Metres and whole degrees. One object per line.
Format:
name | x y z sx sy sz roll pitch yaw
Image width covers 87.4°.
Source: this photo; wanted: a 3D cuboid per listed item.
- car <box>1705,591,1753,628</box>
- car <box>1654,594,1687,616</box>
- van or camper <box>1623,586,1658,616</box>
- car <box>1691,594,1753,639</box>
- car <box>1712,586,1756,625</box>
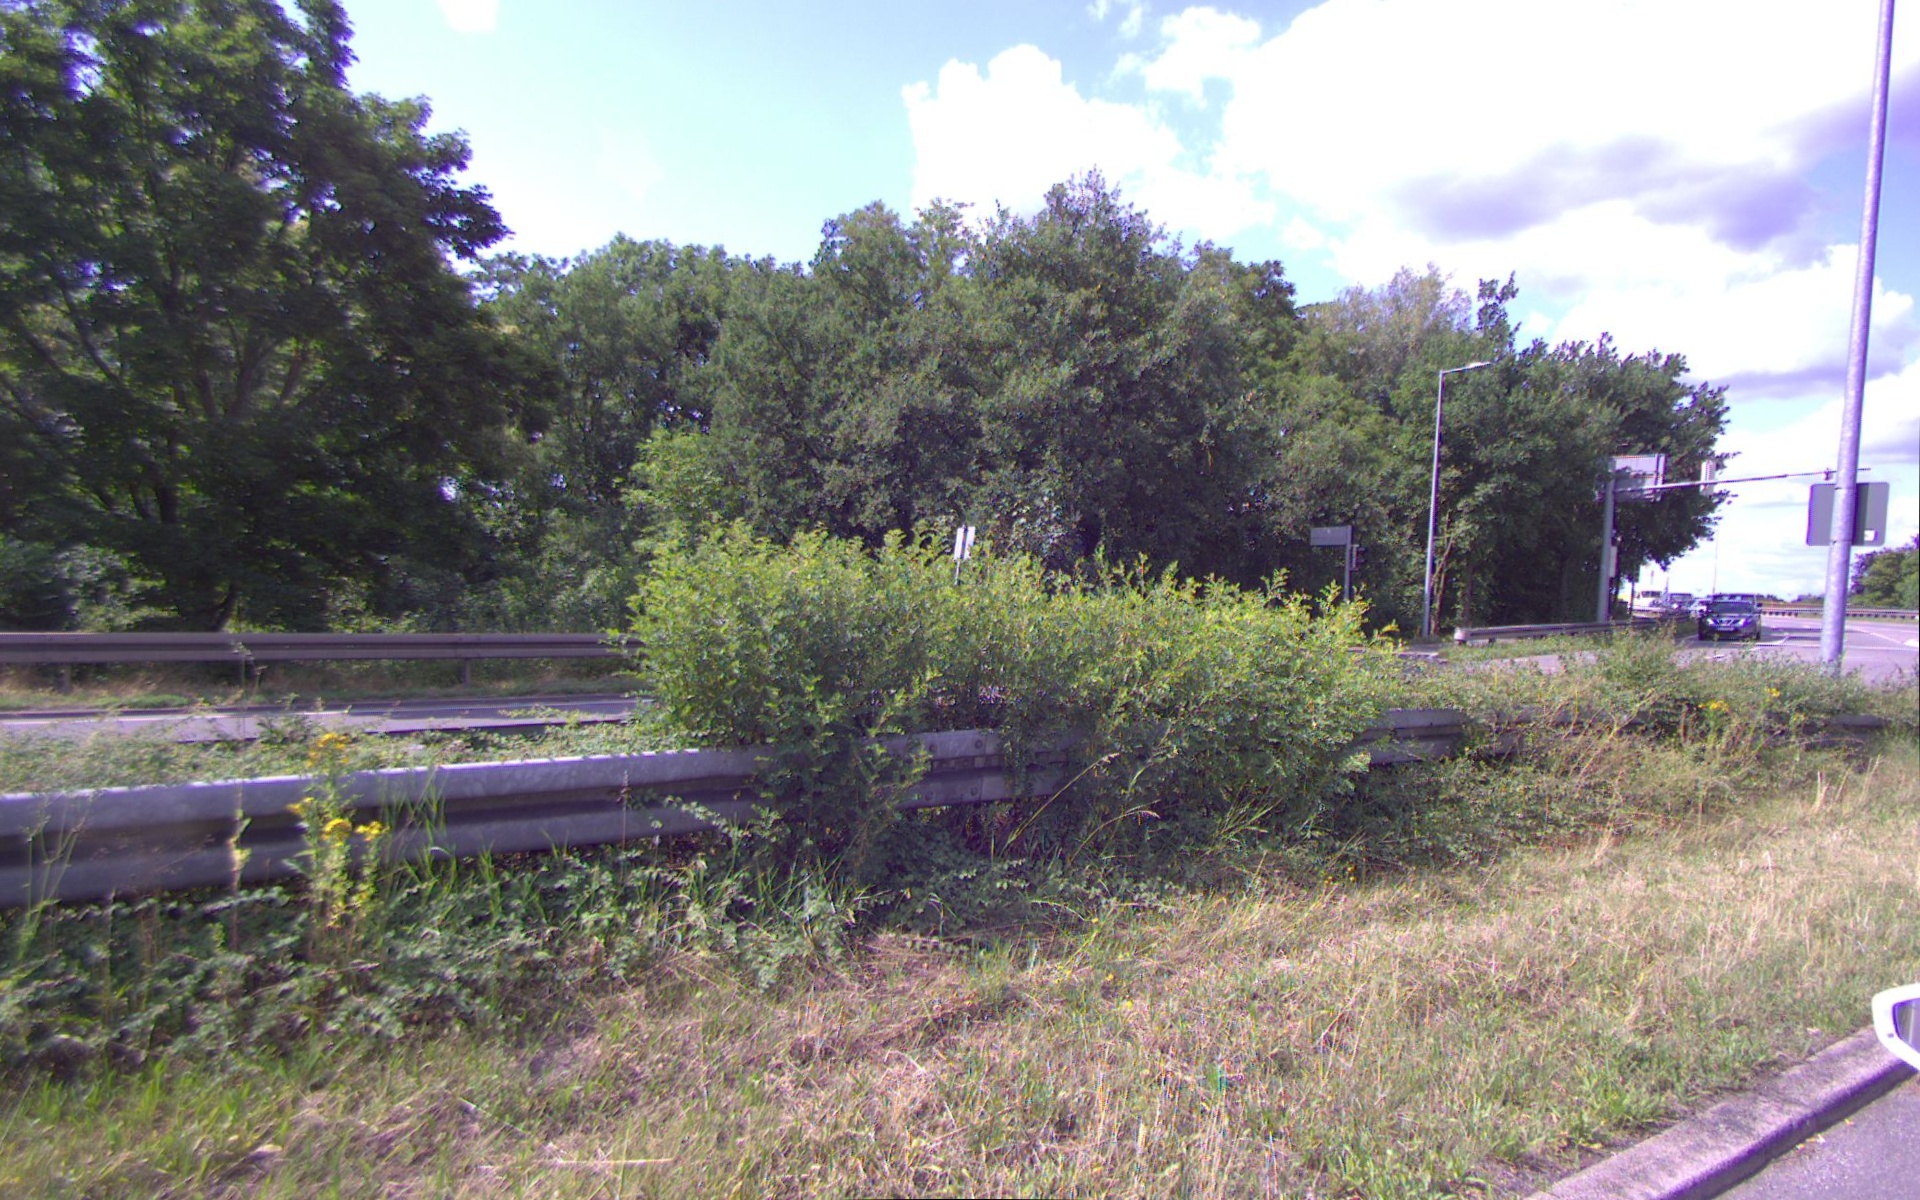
car | 39.947 0.486 52.131 1.820 1.826 4.307 2 1 39
car | 58.020 0.404 82.083 1.817 1.728 4.316 2 1 32
van or camper | 64.645 0.063 95.465 1.963 2.719 6.852 2 1 28
car | 30.691 0.685 40.415 1.816 1.639 3.982 2 0 39
car | 44.853 0.337 58.266 1.819 2.128 4.311 2 1 36
